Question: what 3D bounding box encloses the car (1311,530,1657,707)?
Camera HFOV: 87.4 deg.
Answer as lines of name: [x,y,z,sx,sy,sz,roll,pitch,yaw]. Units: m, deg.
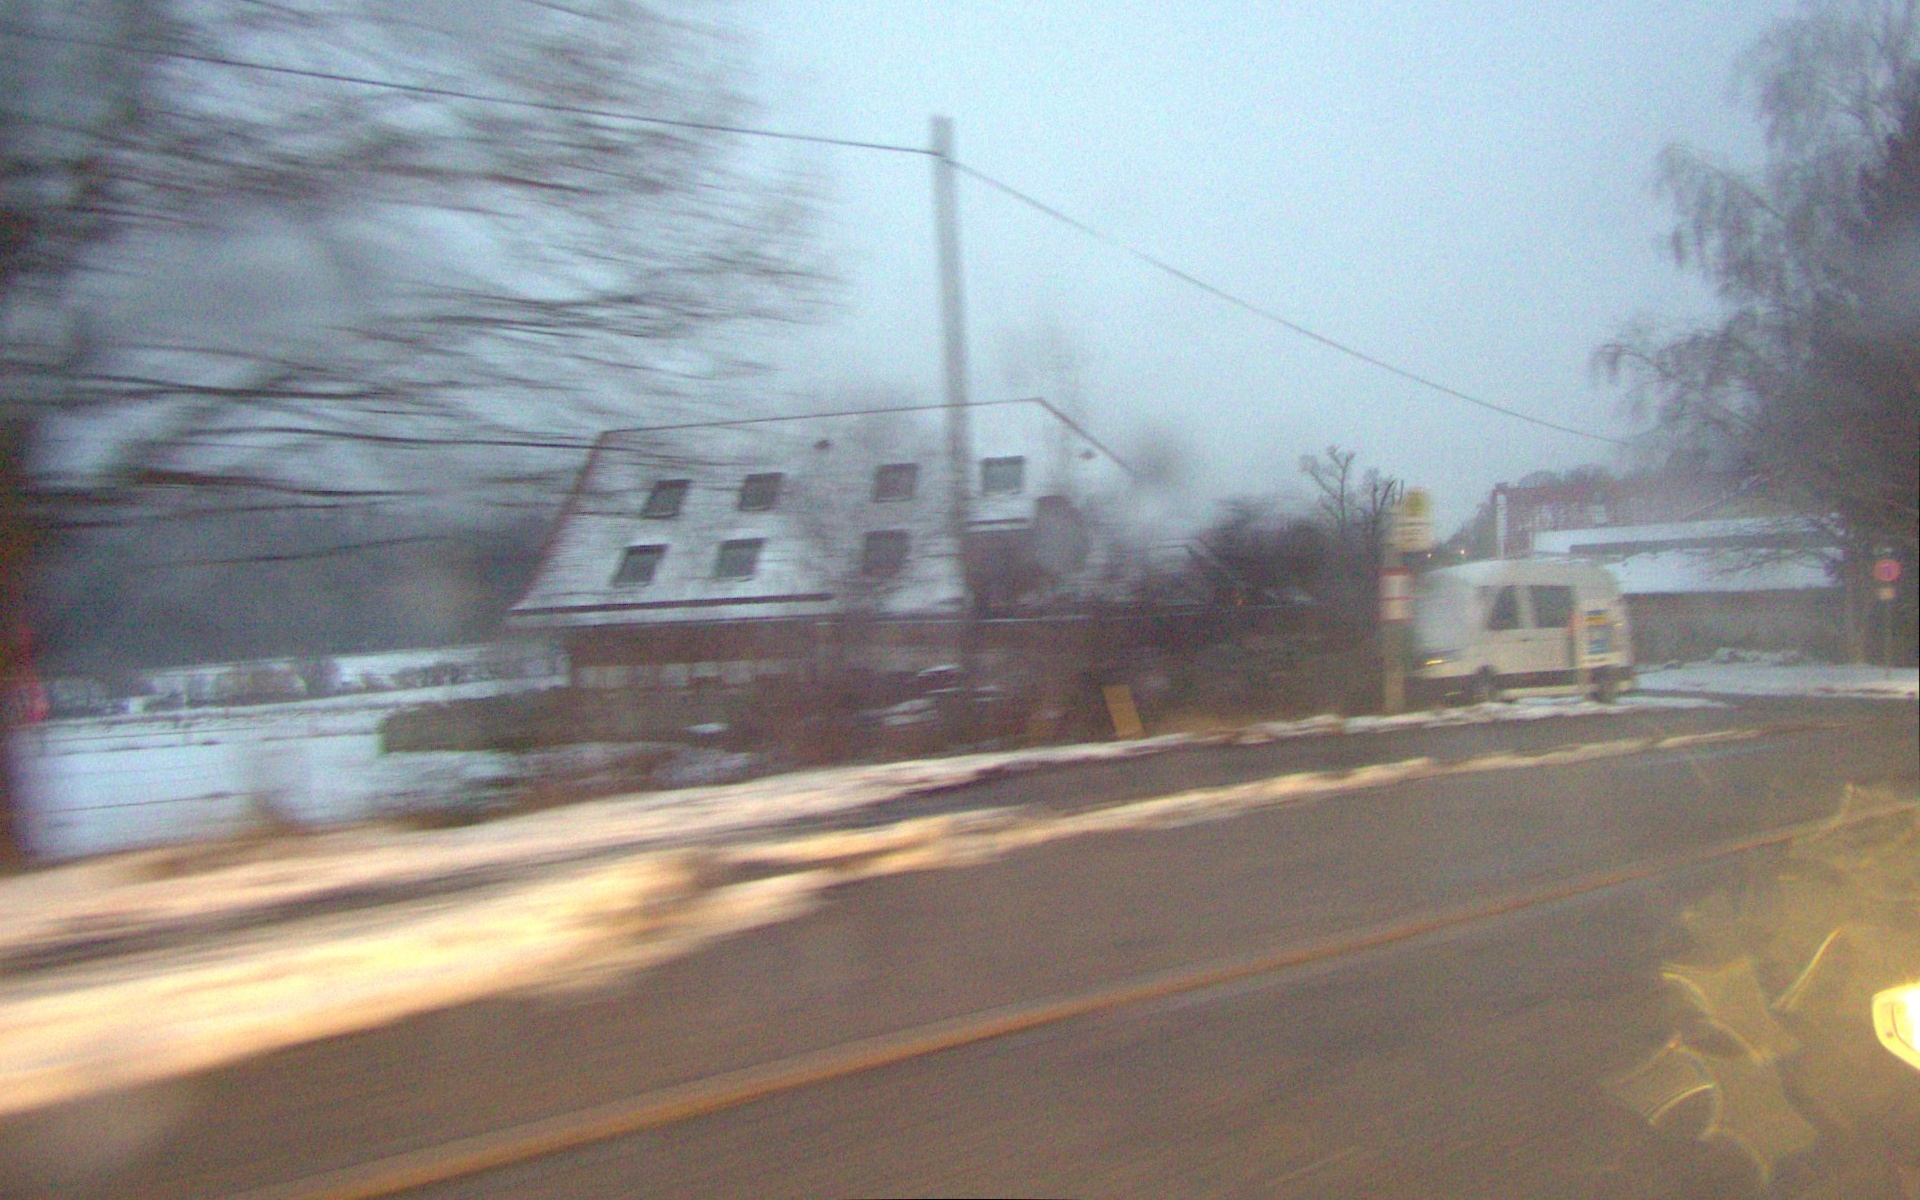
car: [9.200,0.327,17.469,6.155,2.605,2.457,1,0,-31]
